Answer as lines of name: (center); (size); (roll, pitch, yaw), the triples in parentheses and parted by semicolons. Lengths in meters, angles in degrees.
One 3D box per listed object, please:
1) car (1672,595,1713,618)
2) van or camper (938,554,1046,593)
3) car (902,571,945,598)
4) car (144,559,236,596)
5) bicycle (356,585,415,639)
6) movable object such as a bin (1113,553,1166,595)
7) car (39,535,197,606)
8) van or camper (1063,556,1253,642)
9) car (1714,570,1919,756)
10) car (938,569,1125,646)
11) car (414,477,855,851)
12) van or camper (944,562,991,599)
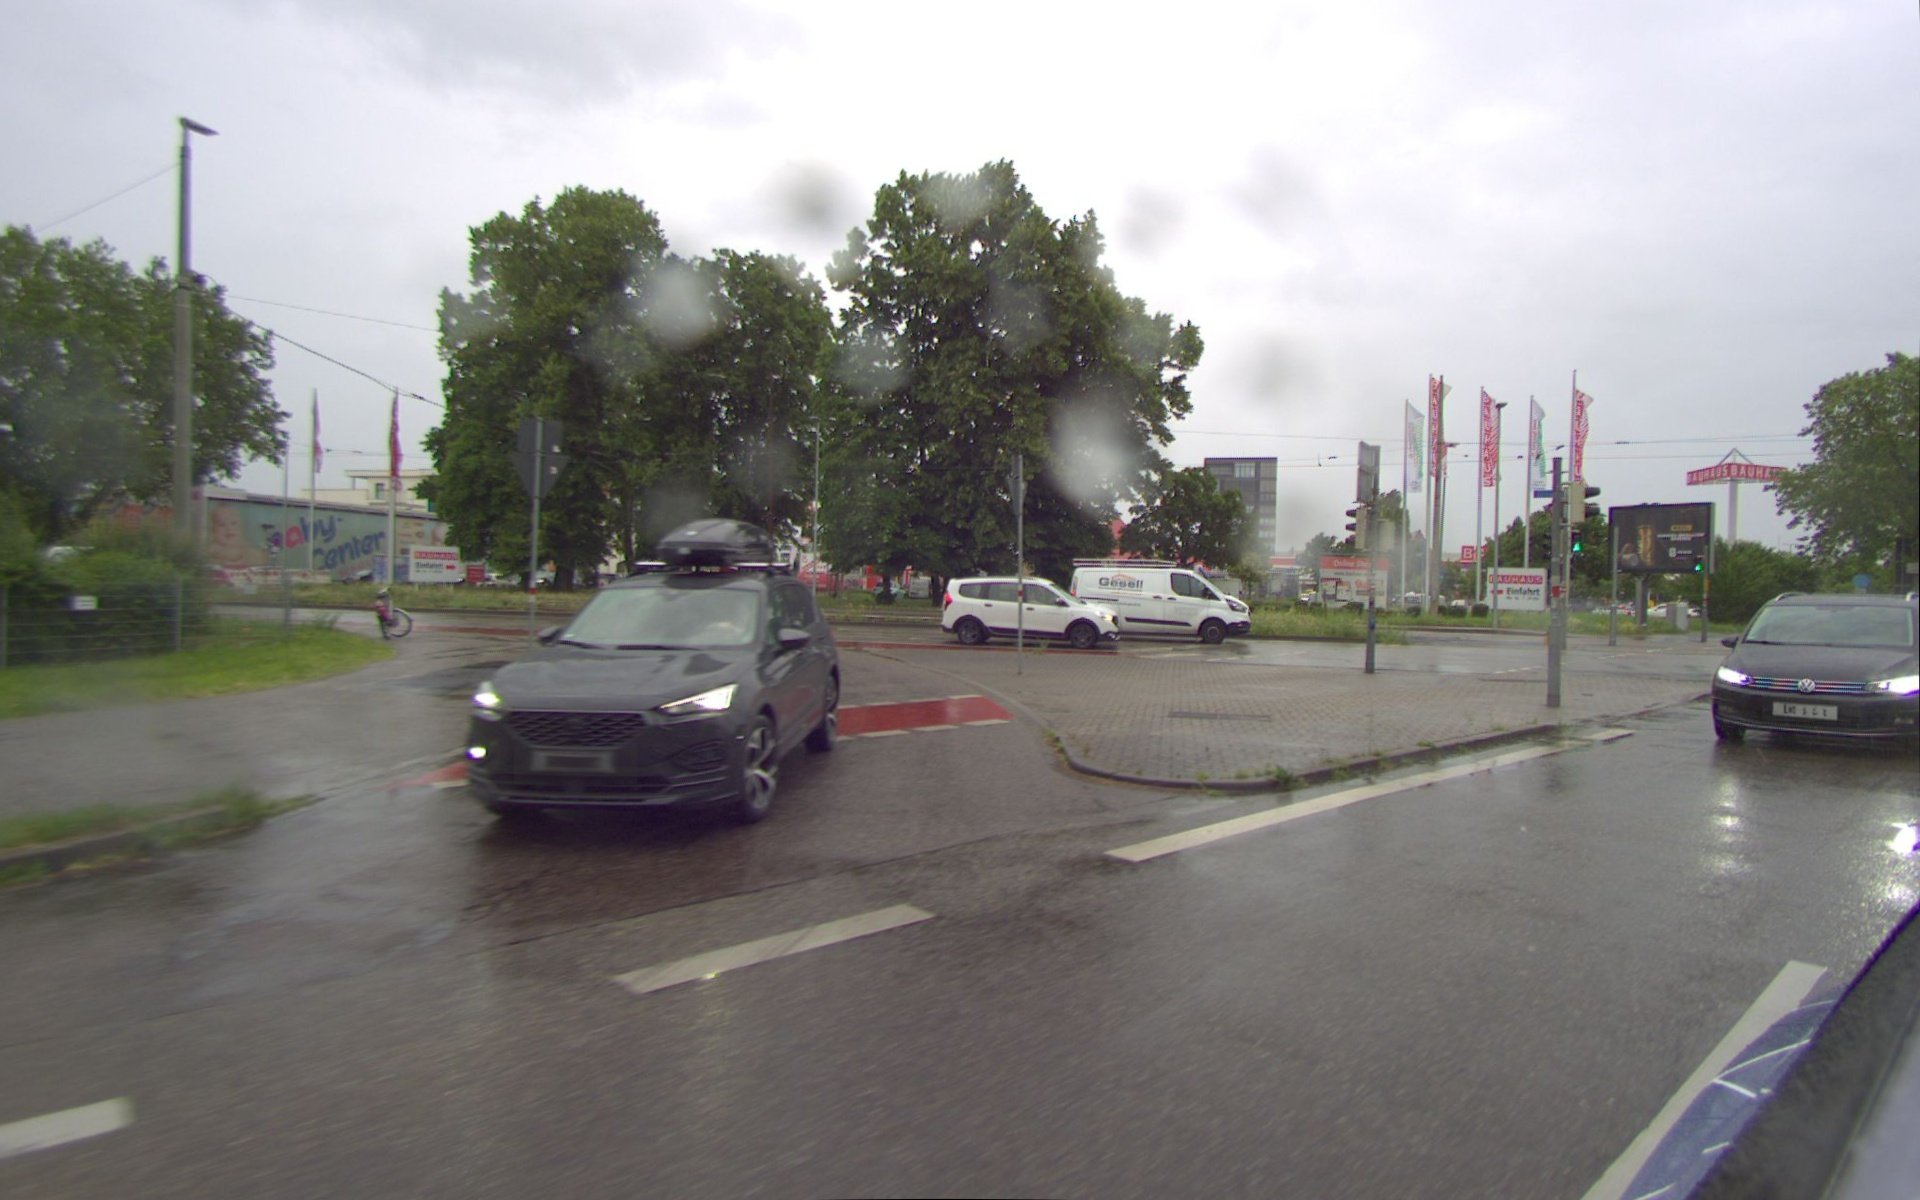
car: (55.904, 0.485, 77.222); (3.933, 1.639, 1.819); (0, 2, -43)
van or camper: (2.804, -2.209, 86.840); (8.848, 3.197, 2.974); (0, 1, 15)
car: (-2.436, -1.084, 68.726); (1.839, 1.749, 3.951); (2, 1, 14)
car: (-39.423, -1.129, 51.850); (3.724, 1.801, 1.800); (0, 1, 13)
bicycle: (-12.114, 0.238, 21.383); (0.795, 1.051, 1.629); (1, 1, -20)
movable object such as a bin: (14.713, -2.103, 82.977); (4.188, 3.325, 2.319); (0, 0, 12)
car: (-26.729, -0.911, 32.142); (4.174, 2.117, 1.988); (0, 1, 19)
van or camper: (5.319, -0.060, 27.416); (4.831, 2.114, 1.862); (2, 1, 12)
car: (10.100, 0.591, 11.343); (4.118, 1.748, 1.859); (0, 0, -42)
car: (1.799, 0.135, 24.910); (4.392, 1.693, 1.862); (2, 1, 12)
car: (-2.111, 0.304, 8.143); (1.896, 2.081, 4.755); (1, 1, 1)
van or camper: (0.560, -1.323, 67.813); (2.102, 2.328, 4.448); (2, 1, 14)
